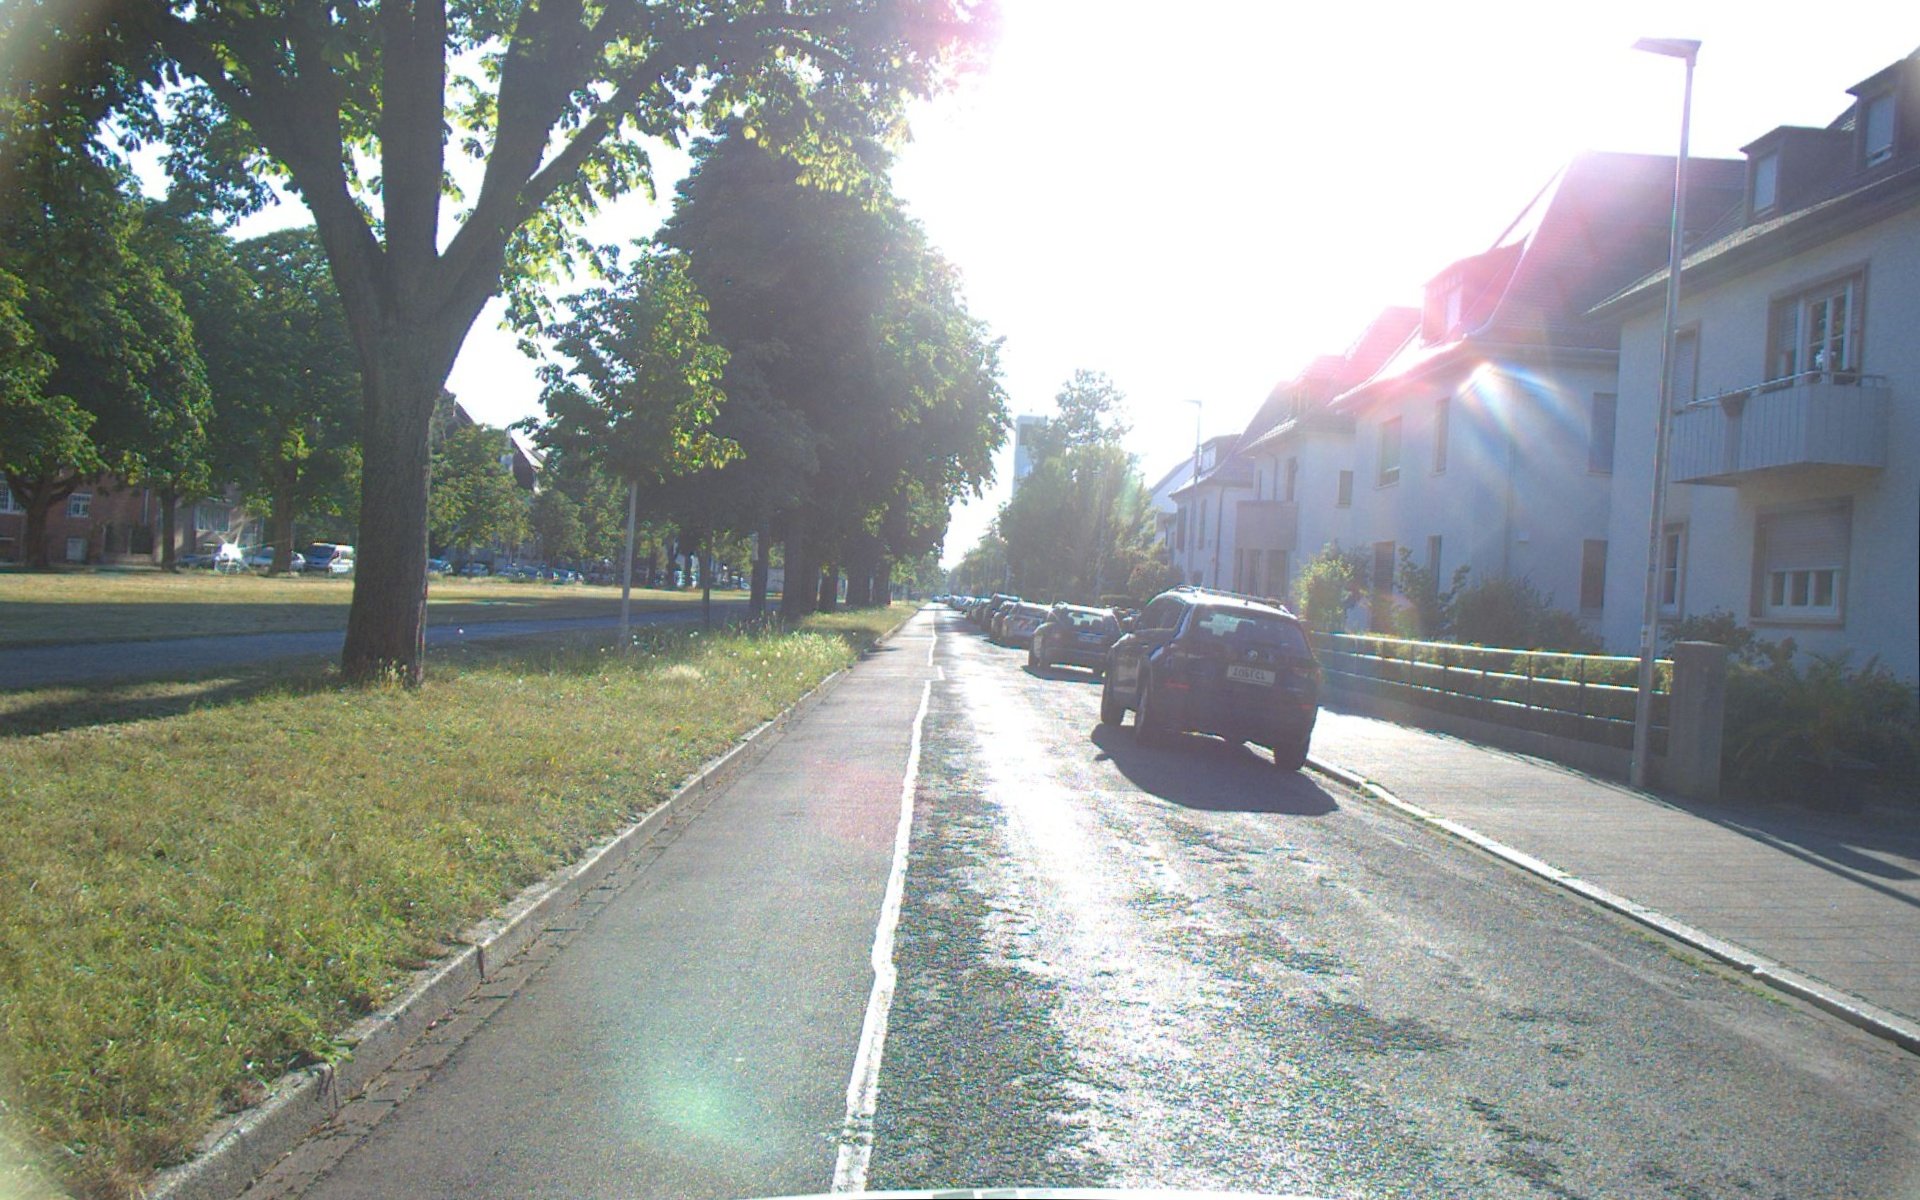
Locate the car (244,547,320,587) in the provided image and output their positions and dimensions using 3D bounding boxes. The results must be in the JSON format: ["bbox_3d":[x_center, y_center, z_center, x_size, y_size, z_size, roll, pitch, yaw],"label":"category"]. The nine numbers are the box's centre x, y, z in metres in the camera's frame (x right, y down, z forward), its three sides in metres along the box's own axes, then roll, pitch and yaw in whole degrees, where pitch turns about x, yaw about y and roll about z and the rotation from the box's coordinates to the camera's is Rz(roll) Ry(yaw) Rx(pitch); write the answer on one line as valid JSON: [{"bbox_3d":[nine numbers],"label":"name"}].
[{"bbox_3d":[-33.746,-1.619,82.416,1.982,1.687,3.983,6,-1,0],"label":"car"}]

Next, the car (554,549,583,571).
[{"bbox_3d":[-41.399,-4.203,174.928,1.954,1.946,3.999,6,-1,-1],"label":"car"}]

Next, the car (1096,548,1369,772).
[{"bbox_3d":[2.873,0.583,18.498,1.955,1.935,4.388,8,0,-2],"label":"car"}]

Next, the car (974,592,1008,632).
[{"bbox_3d":[1.770,0.692,95.385,1.658,2.048,3.624,6,-1,-1],"label":"car"}]

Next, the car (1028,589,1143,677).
[{"bbox_3d":[2.658,0.689,35.913,1.954,1.682,3.998,4,-1,-2],"label":"car"}]

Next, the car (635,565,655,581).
[{"bbox_3d":[-43.485,-3.759,228.474,1.953,2.048,3.999,4,0,-1],"label":"car"}]

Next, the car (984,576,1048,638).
[{"bbox_3d":[2.060,0.275,61.849,1.954,2.048,3.998,6,-1,-2],"label":"car"}]

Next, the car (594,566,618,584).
[{"bbox_3d":[-40.717,-2.894,190.330,1.842,1.782,3.796,6,-1,-1],"label":"car"}]

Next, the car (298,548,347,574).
[{"bbox_3d":[-40.192,-2.468,104.349,1.649,1.365,3.470,6,-1,-1],"label":"car"}]

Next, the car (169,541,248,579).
[{"bbox_3d":[-39.665,-2.075,87.418,1.953,1.687,4.355,6,-1,1],"label":"car"}]

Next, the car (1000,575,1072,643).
[{"bbox_3d":[2.545,0.297,56.288,1.954,2.048,3.998,6,-1,-2],"label":"car"}]

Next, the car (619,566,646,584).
[{"bbox_3d":[-34.646,-2.635,175.035,1.953,1.764,3.999,4,0,-1],"label":"car"}]

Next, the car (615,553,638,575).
[{"bbox_3d":[-33.998,-3.662,168.647,1.621,1.971,3.566,6,-2,-2],"label":"car"}]

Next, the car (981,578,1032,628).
[{"bbox_3d":[2.105,0.140,75.970,1.954,2.048,3.998,6,-1,-2],"label":"car"}]

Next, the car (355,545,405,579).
[{"bbox_3d":[-35.720,-2.328,101.940,1.694,1.718,3.876,6,-2,-3],"label":"car"}]
